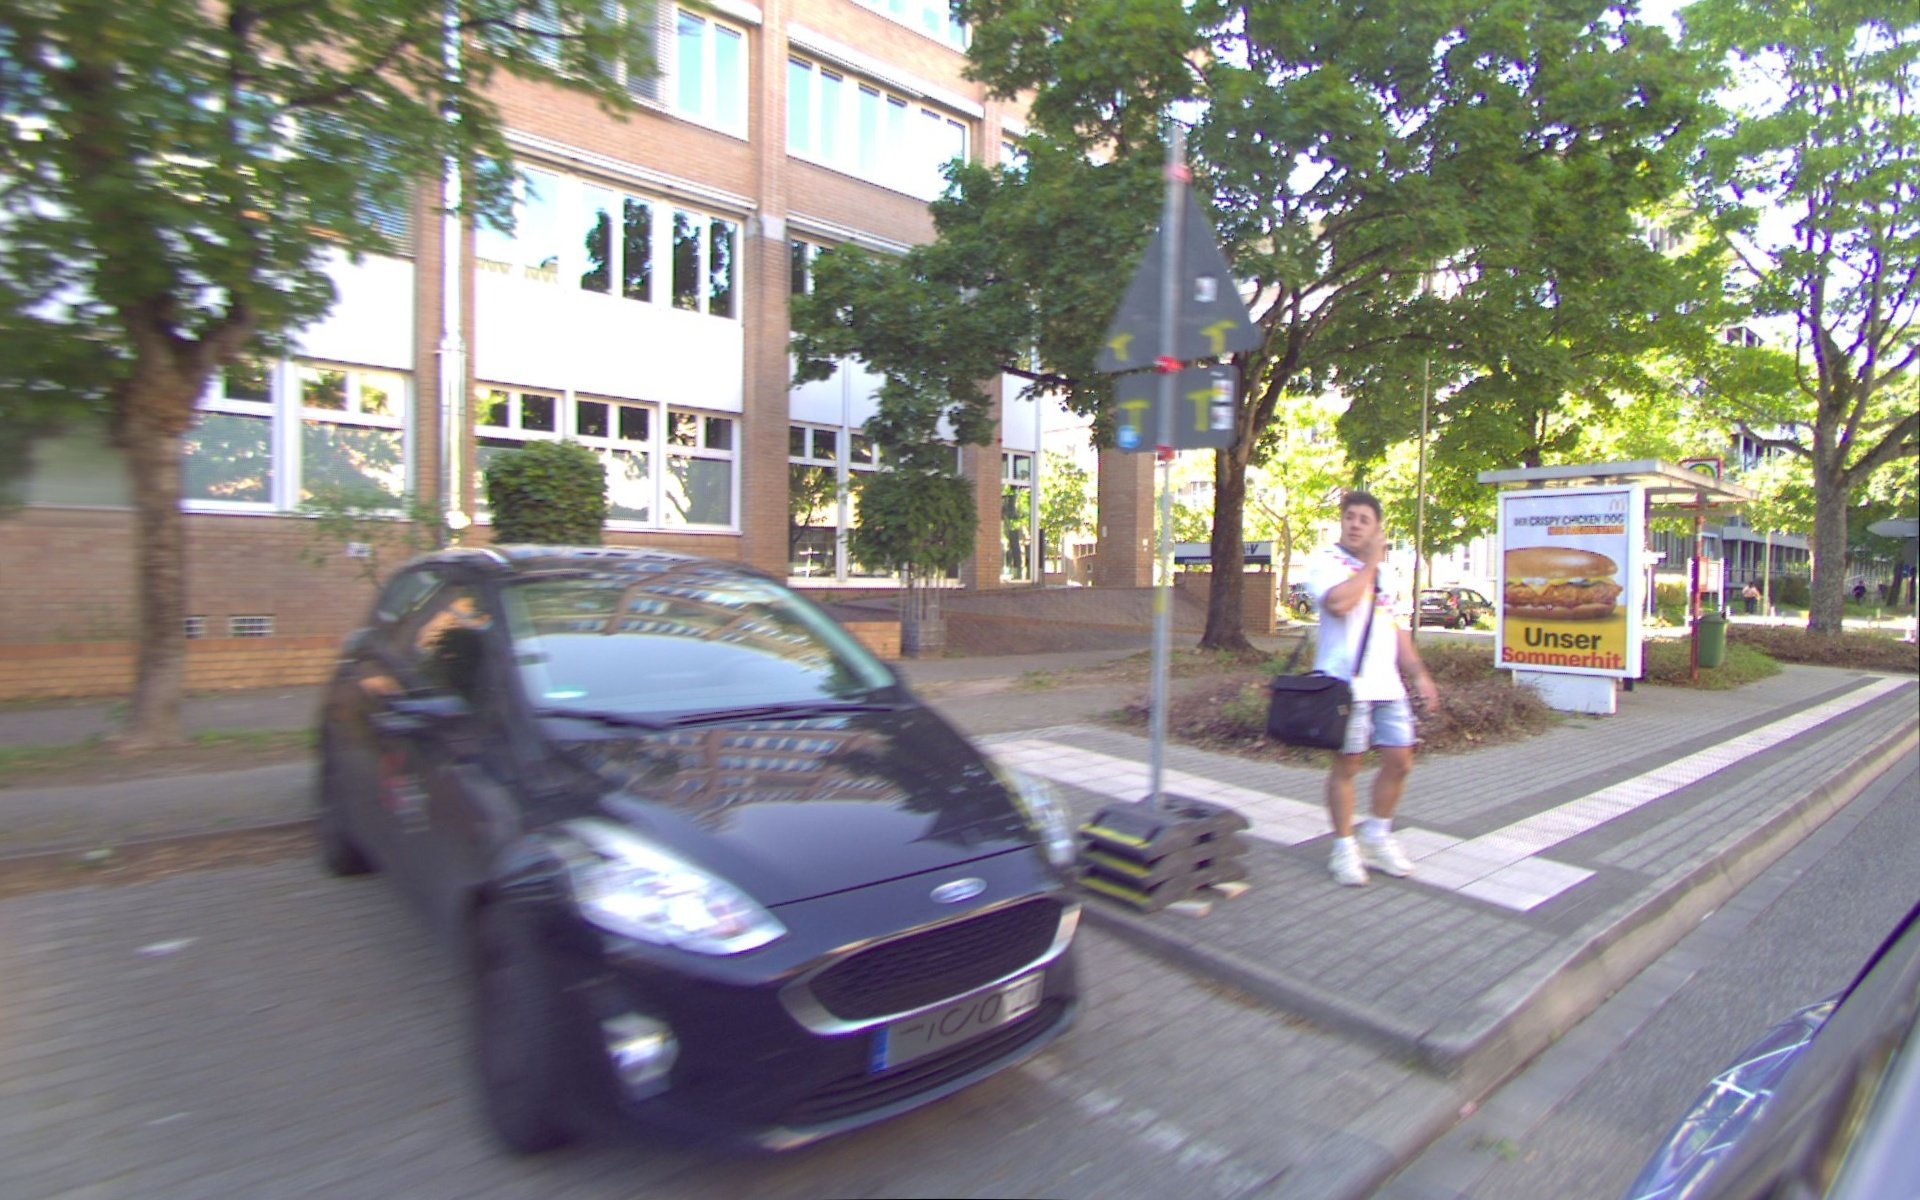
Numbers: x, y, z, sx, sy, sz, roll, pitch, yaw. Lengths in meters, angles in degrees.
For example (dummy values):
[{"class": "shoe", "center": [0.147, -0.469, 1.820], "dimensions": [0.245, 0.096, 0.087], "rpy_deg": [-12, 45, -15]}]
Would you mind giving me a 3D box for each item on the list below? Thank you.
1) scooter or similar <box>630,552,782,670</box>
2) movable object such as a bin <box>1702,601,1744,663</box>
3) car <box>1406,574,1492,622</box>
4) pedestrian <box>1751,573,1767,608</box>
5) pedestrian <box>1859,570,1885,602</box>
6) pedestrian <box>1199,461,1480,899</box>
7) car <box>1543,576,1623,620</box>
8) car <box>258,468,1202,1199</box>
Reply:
[{"class": "scooter or similar", "center": [-3.074, 0.115, 12.370], "dimensions": [0.549, 1.342, 1.777], "rpy_deg": [-1, 0, 44]}, {"class": "movable object such as a bin", "center": [9.880, 0.409, 13.103], "dimensions": [0.459, 0.762, 0.299], "rpy_deg": [-1, 4, -41]}, {"class": "car", "center": [16.128, -0.086, 33.285], "dimensions": [1.650, 1.480, 3.861], "rpy_deg": [2, 1, 40]}, {"class": "pedestrian", "center": [37.047, -0.446, 46.913], "dimensions": [0.537, 1.602, 0.639], "rpy_deg": [1, 1, 40]}, {"class": "pedestrian", "center": [52.576, -0.812, 58.345], "dimensions": [1.001, 1.821, 1.036], "rpy_deg": [-1, 0, -42]}, {"class": "pedestrian", "center": [1.692, 0.281, 4.525], "dimensions": [0.916, 1.731, 0.689], "rpy_deg": [5, 3, 36]}, {"class": "car", "center": [25.367, -0.132, 41.175], "dimensions": [4.295, 1.584, 1.739], "rpy_deg": [-4, 3, -44]}, {"class": "car", "center": [-1.270, 0.436, 3.791], "dimensions": [1.744, 1.457, 3.940], "rpy_deg": [0, 2, -42]}]
